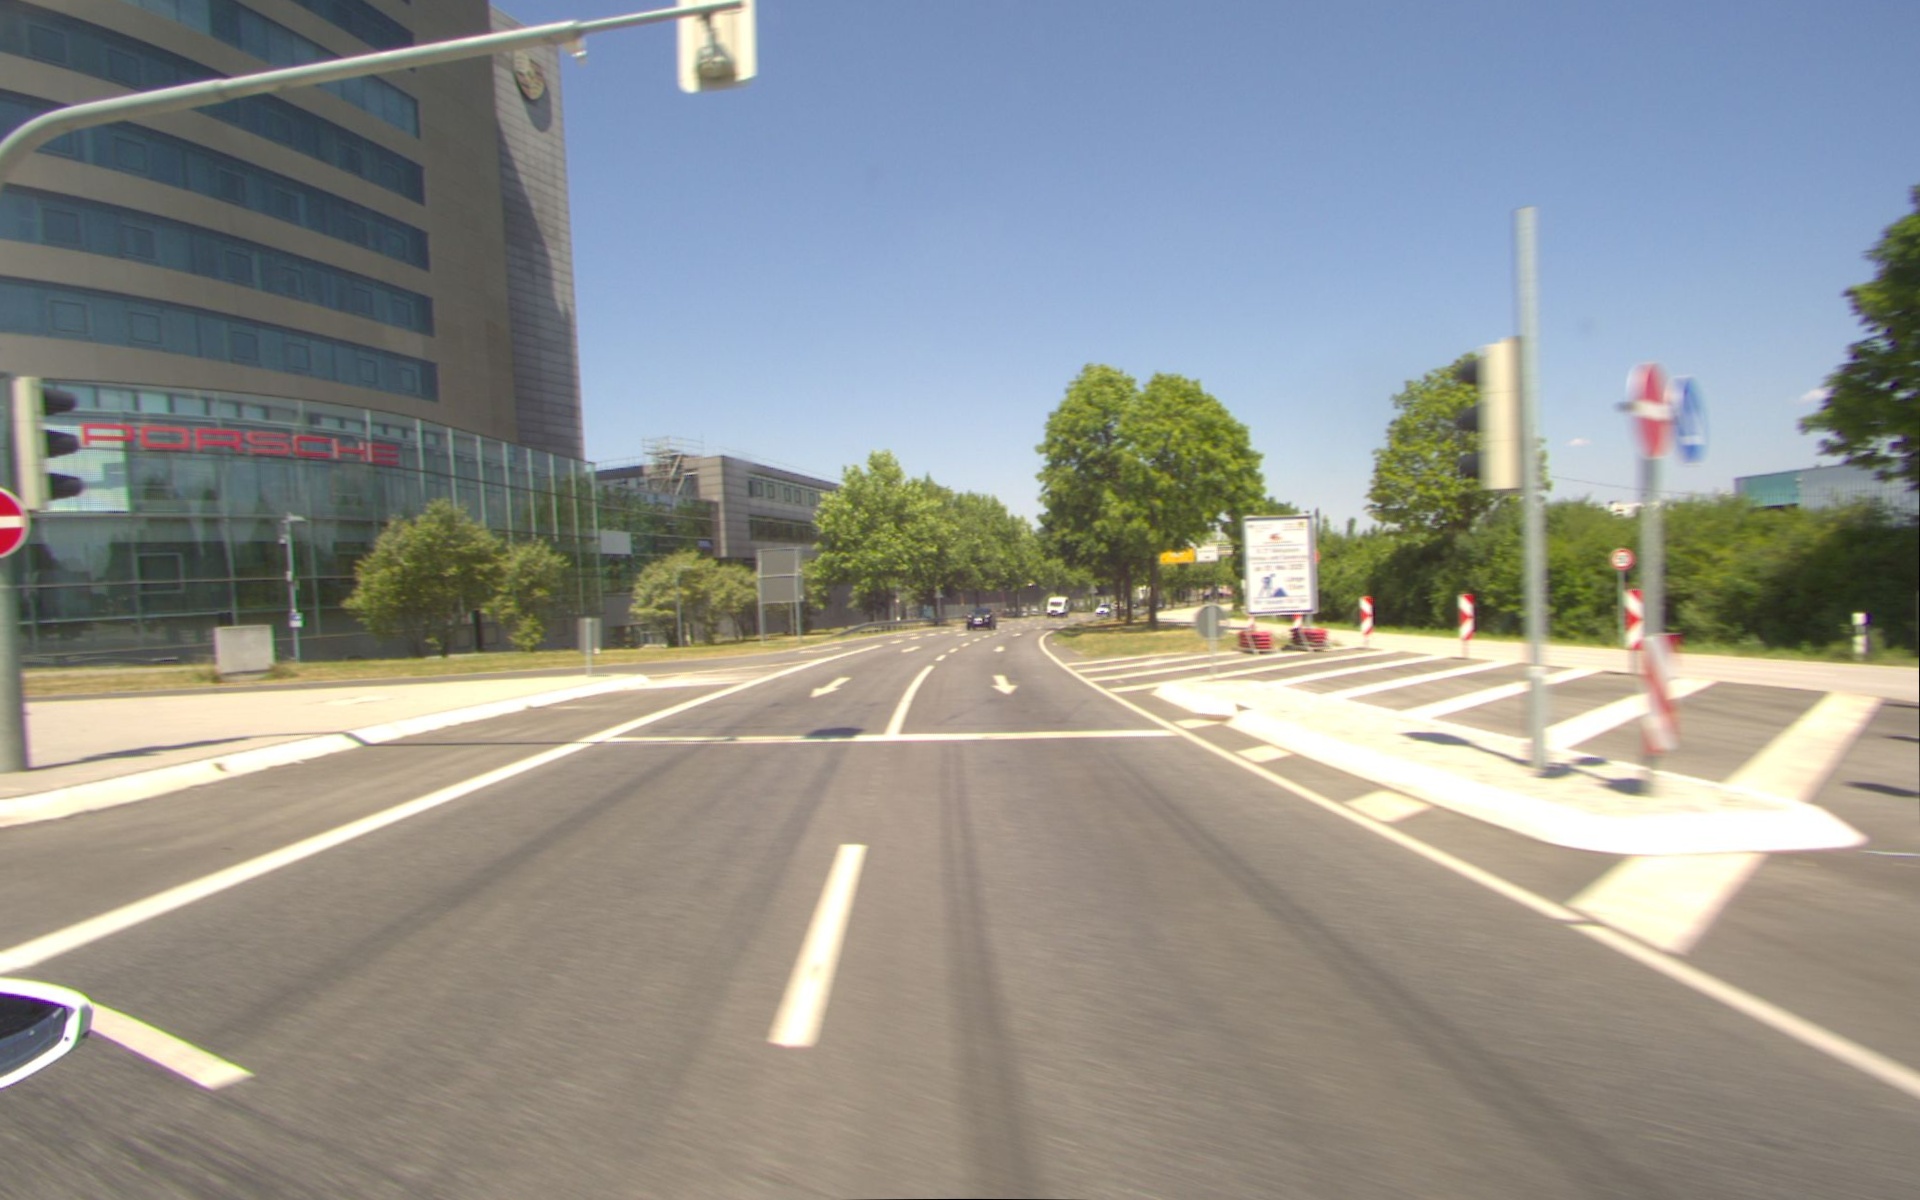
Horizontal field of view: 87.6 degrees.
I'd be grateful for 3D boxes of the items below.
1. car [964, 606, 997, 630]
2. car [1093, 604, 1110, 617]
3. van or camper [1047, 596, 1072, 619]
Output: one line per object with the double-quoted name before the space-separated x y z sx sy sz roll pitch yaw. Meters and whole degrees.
"car" 1.488 1.266 70.499 1.635 1.610 3.997 -1 0 12
"car" 18.767 1.379 132.814 1.706 1.684 3.994 -1 0 16
"van or camper" 11.993 0.922 120.496 1.966 2.717 3.990 -1 0 22
